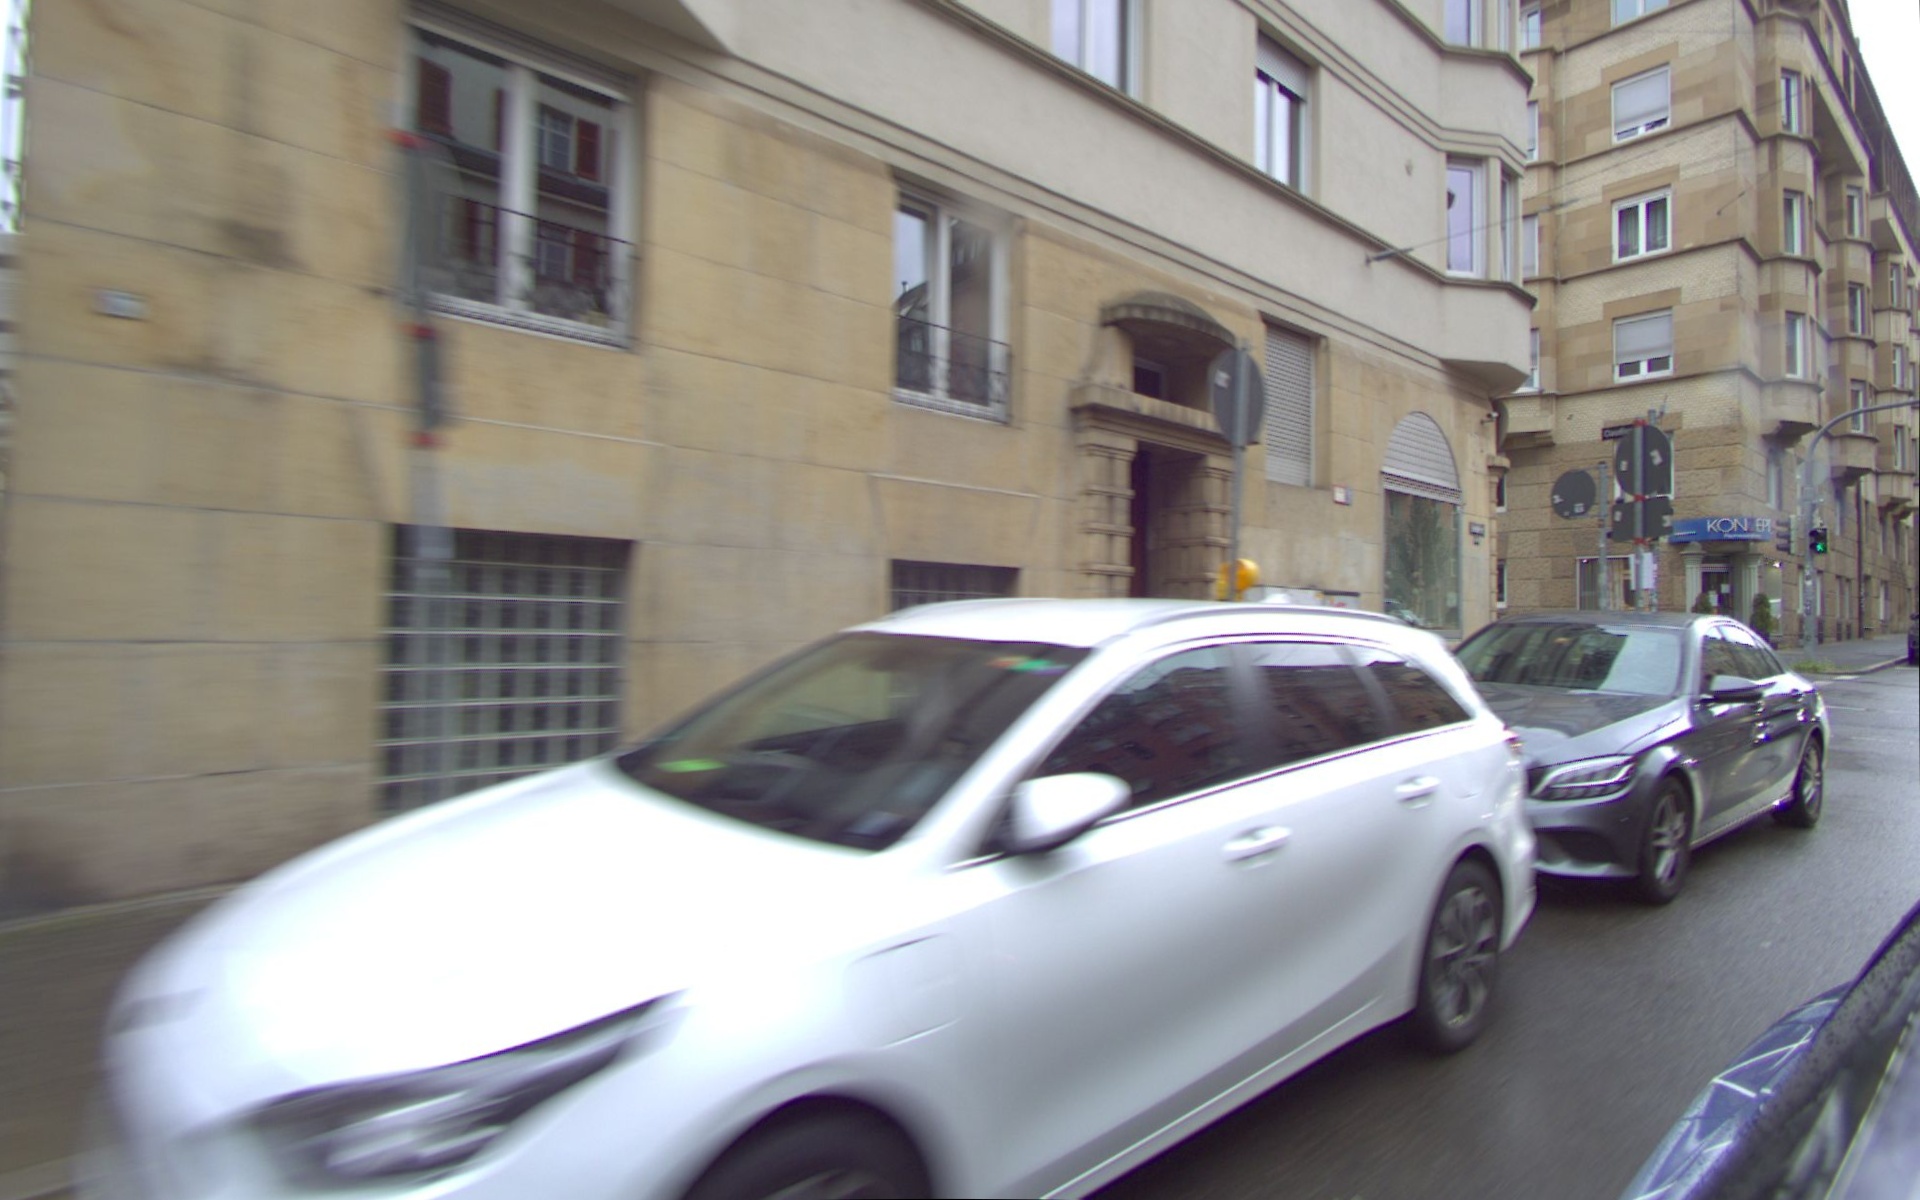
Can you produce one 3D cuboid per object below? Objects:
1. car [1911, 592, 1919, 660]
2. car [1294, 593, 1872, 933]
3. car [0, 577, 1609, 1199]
[{"bbox_3d":[24.378,0.581,24.252,3.920,1.568,1.871,0,-1,-40],"label":"car"},{"bbox_3d":[4.267,0.691,6.555,4.730,1.428,1.715,-1,1,-39],"label":"car"},{"bbox_3d":[0.236,0.682,3.156,4.689,1.486,1.715,-1,1,-40],"label":"car"}]
